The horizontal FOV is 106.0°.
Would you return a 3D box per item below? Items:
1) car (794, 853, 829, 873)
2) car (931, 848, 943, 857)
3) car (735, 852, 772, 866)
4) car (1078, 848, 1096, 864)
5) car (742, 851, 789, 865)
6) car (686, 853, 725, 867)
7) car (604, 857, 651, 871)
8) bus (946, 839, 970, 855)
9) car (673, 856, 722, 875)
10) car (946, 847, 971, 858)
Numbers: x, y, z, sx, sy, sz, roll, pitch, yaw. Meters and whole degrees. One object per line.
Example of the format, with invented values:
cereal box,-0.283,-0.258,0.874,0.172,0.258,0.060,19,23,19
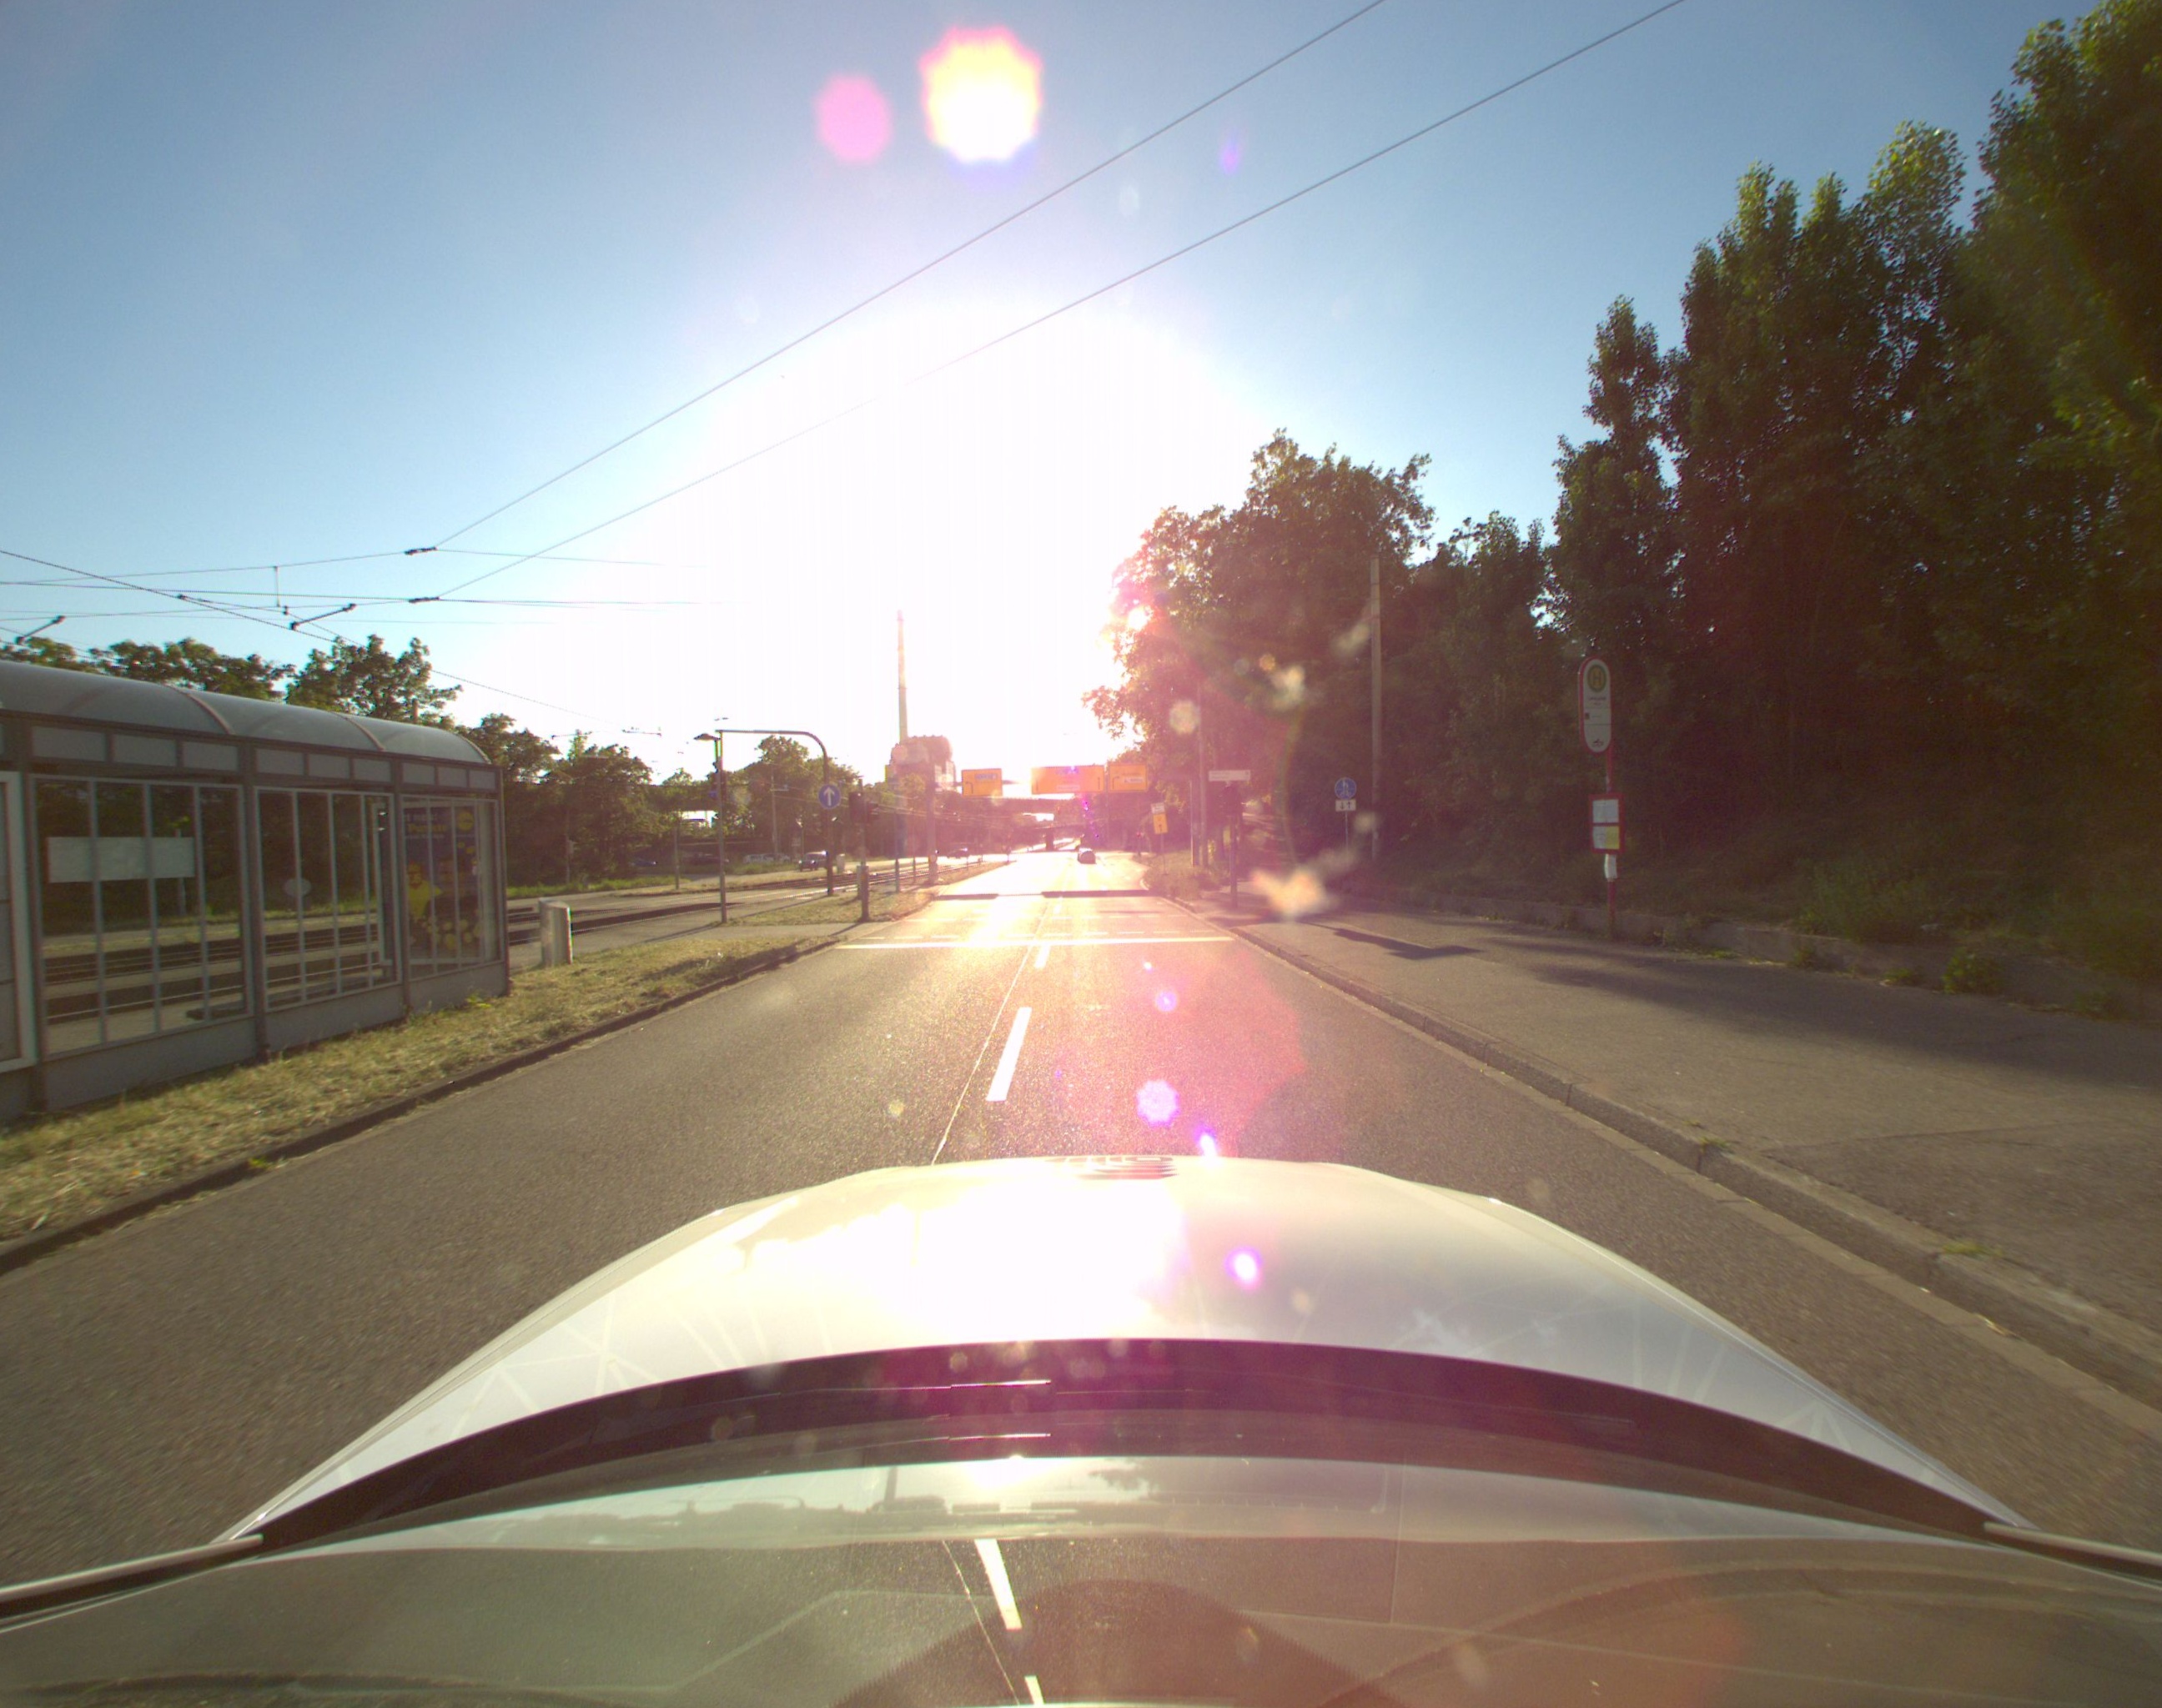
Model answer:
car,-27.088,0.870,81.948,1.925,1.787,4.262,-2,1,2
car,-26.723,-0.267,151.023,1.602,1.512,4.006,-1,1,-2
car,-39.237,0.543,97.571,4.008,1.574,1.679,-2,1,-26
car,0.626,0.195,87.348,1.731,1.505,3.998,-2,1,-1
car,-39.270,0.442,101.328,5.374,1.574,1.727,-2,1,-24
car,-45.317,0.687,98.356,4.258,1.574,1.679,-2,1,-27
car,-52.607,1.201,94.534,4.639,1.458,1.678,-1,1,-29
bus,-26.867,-1.461,178.925,2.533,3.130,12.926,-2,0,3
car,-44.438,1.261,94.378,4.959,1.991,2.018,-2,1,-30
car,-18.597,-0.213,123.600,3.950,1.505,1.752,-1,2,45
